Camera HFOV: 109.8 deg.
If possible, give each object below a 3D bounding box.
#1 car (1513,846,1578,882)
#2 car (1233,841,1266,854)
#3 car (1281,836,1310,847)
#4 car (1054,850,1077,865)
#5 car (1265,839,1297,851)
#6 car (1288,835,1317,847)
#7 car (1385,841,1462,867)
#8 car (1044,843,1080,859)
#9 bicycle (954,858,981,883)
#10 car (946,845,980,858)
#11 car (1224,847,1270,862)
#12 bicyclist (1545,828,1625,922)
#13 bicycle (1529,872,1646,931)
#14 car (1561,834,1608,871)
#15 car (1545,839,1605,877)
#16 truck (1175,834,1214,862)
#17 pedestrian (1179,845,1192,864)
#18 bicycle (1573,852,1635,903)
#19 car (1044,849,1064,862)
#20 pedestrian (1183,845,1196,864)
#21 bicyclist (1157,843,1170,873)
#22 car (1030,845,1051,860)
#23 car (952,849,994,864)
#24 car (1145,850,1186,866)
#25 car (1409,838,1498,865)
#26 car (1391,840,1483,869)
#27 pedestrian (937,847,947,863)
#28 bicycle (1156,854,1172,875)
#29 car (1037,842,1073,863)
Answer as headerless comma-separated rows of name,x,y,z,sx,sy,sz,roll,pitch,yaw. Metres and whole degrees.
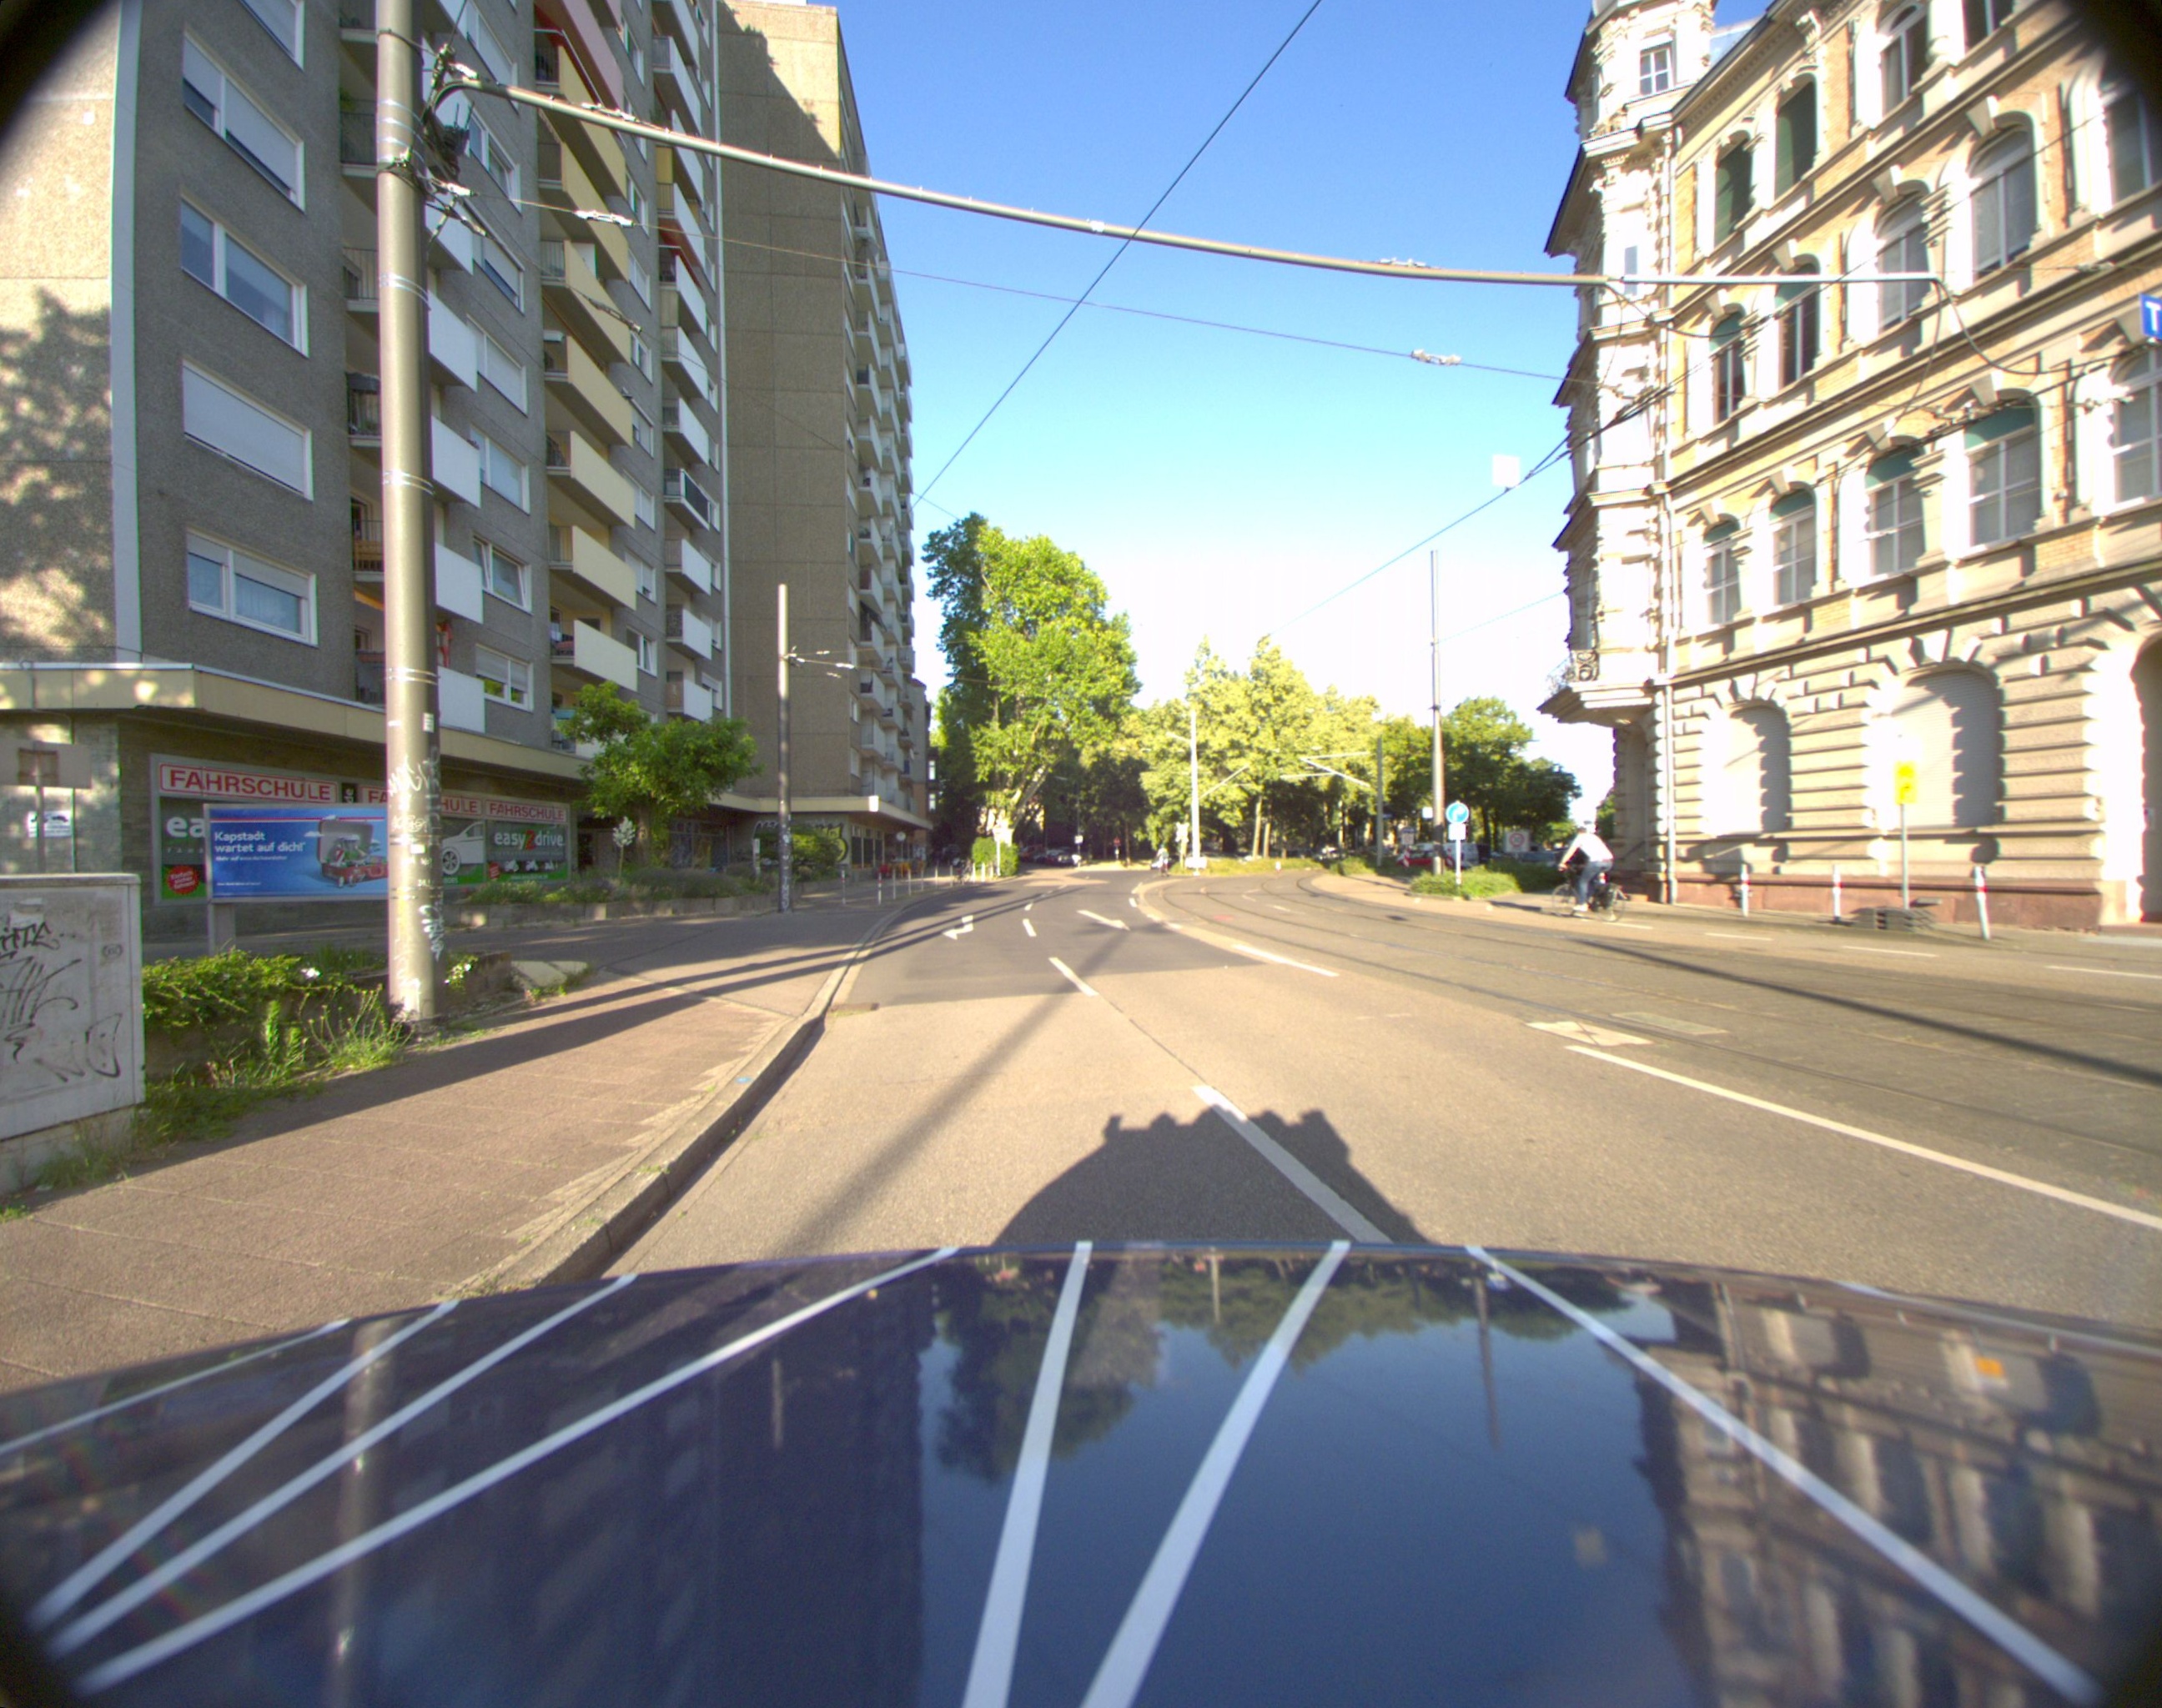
car,19.745,0.386,32.222,1.733,1.406,3.441,0,1,42
car,23.607,-0.955,106.431,2.003,1.740,4.432,-1,1,-30
car,32.685,-1.892,115.801,1.889,1.740,3.989,-1,1,-37
car,-1.612,0.321,77.732,1.742,1.440,3.627,-1,1,-13
car,30.049,-1.390,114.138,2.004,1.696,4.345,-1,1,-36
car,34.435,-2.031,118.083,1.889,1.740,3.989,-1,1,-37
car,21.356,-0.009,47.527,1.872,1.499,3.989,-1,1,-35
car,-2.224,-0.344,88.307,3.929,1.751,1.533,-1,1,-16
bicycle,-5.417,0.783,36.362,0.609,1.128,2.282,-1,1,9
car,-14.628,-0.287,94.171,4.002,1.499,1.883,-1,1,-15
car,14.695,0.045,67.451,1.744,1.346,3.678,-1,1,-40
bicyclist,10.251,0.420,15.494,0.730,1.829,1.211,-1,0,-9
bicycle,10.254,0.927,15.493,0.729,1.077,2.115,-1,0,-9
car,29.443,-0.105,44.360,1.994,2.002,4.645,0,1,37
car,23.185,0.143,35.592,1.733,1.652,4.008,0,1,42
truck,11.651,-0.605,77.521,1.994,2.767,4.894,0,1,34
pedestrian,9.828,0.011,71.307,0.890,1.758,0.828,-1,1,-29
bicycle,14.141,0.600,20.503,2.693,1.259,0.643,-1,1,-39
car,-2.968,0.154,83.268,1.536,1.440,3.922,-1,1,-13
pedestrian,10.059,0.026,70.410,0.890,1.758,0.828,-1,1,-29
bicyclist,4.878,0.219,44.723,0.607,1.753,1.060,-1,1,-2
car,-5.180,-0.191,96.827,1.773,1.846,4.222,-1,1,-15
car,-10.993,0.242,77.397,4.002,1.499,1.883,-1,1,-15
car,8.192,0.357,73.222,1.945,1.390,4.008,0,1,41
car,25.260,-0.173,51.710,2.004,1.798,5.045,-1,1,-35
car,22.932,0.020,49.111,2.004,1.778,5.045,-1,1,-35
pedestrian,-17.486,0.166,95.534,1.214,2.002,1.205,-1,1,-14
bicycle,4.886,0.612,44.777,0.611,1.168,1.951,-1,1,-2
car,-3.085,-0.151,90.586,3.929,2.392,1.533,-1,1,-16
